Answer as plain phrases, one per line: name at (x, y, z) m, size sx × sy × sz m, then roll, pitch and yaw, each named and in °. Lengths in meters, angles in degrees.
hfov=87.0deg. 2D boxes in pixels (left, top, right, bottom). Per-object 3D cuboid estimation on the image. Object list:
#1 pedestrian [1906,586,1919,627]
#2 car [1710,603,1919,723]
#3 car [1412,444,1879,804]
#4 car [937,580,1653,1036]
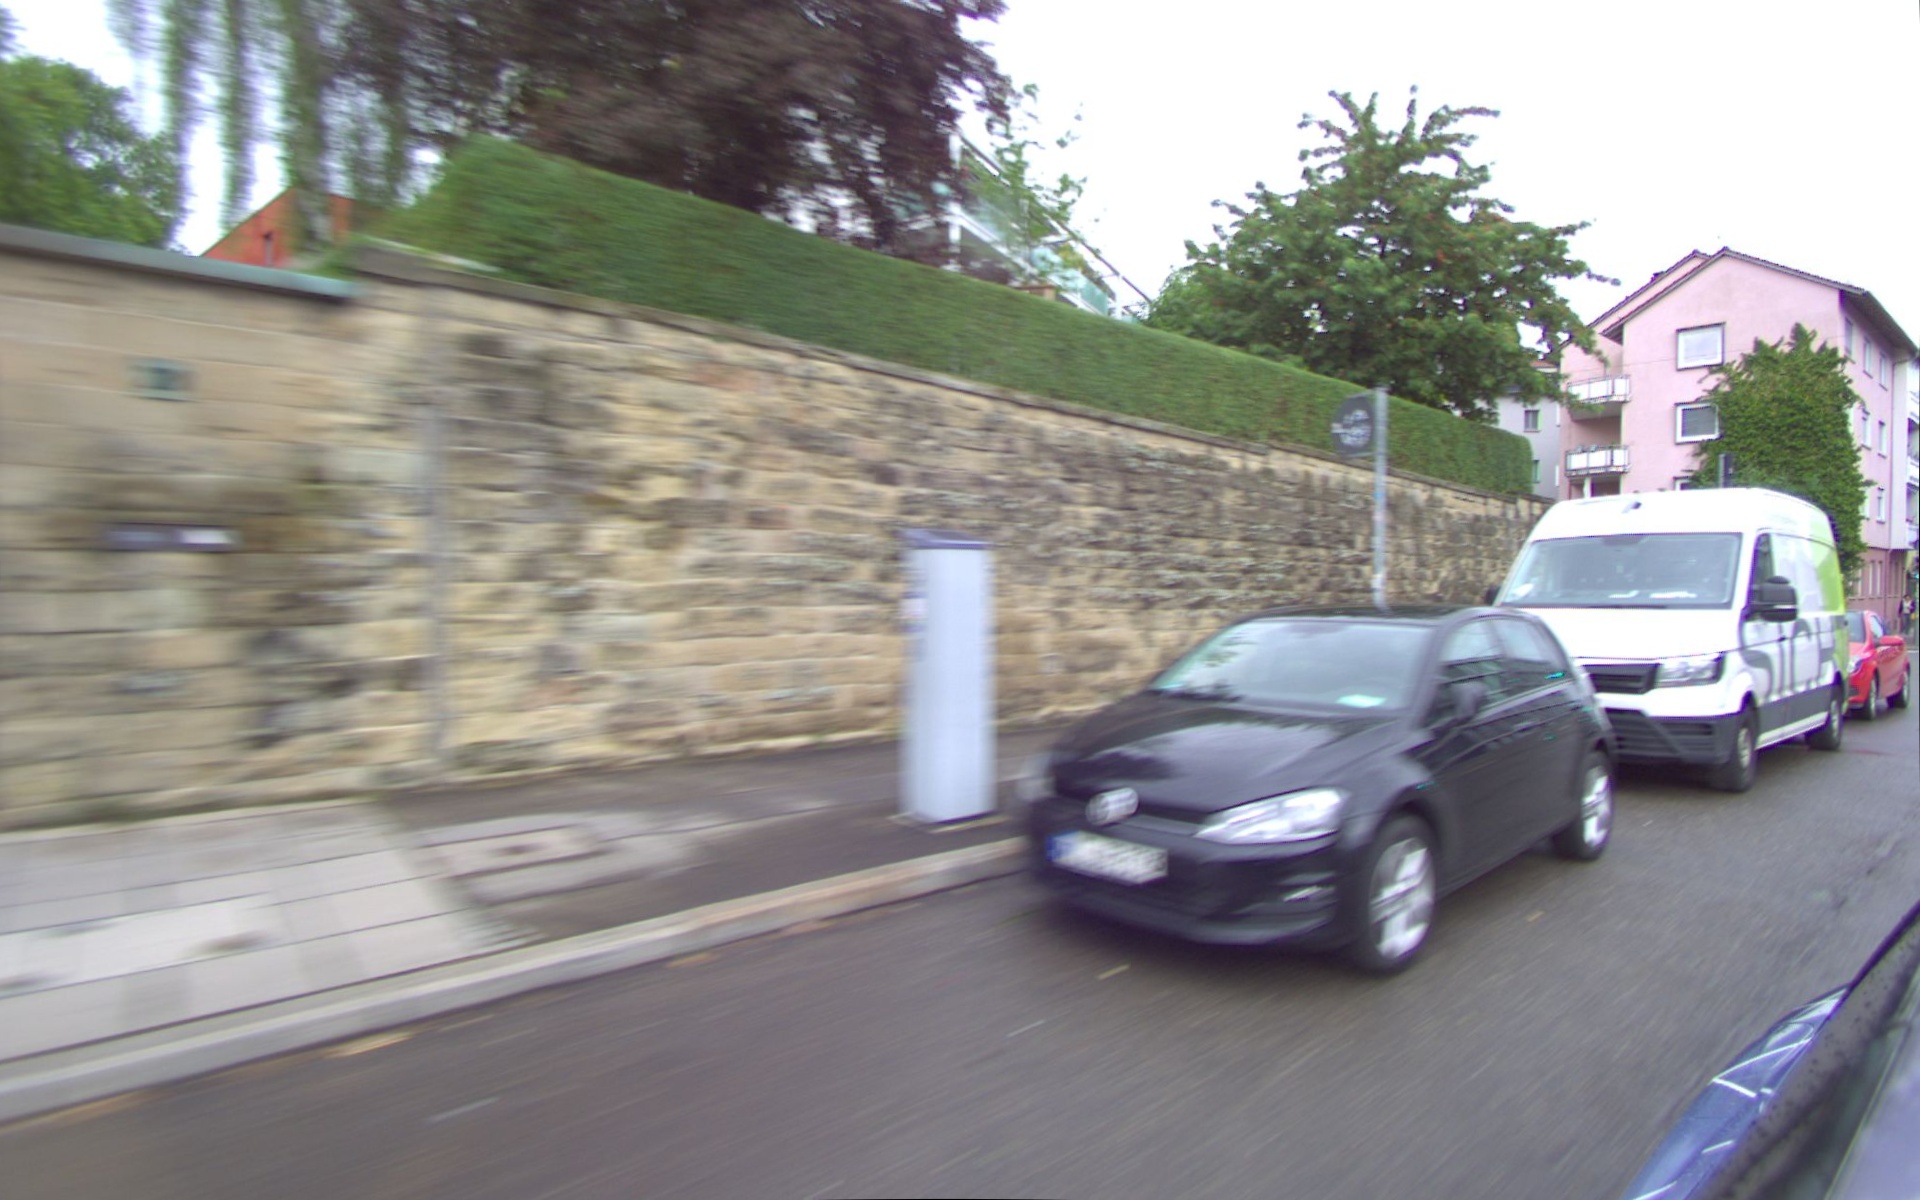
pedestrian at (42.983, 0.291, 45.313) m, size 0.735 × 1.795 × 0.715 m, roll 2°, pitch 2°, yaw -40°
car at (12.145, 0.776, 14.154) m, size 4.127 × 1.439 × 1.724 m, roll 1°, pitch -1°, yaw -39°
car at (6.873, 0.193, 9.785) m, size 5.971 × 2.495 × 2.209 m, roll 1°, pitch -1°, yaw -40°
car at (2.009, 0.694, 5.300) m, size 4.161 × 1.472 × 1.691 m, roll 1°, pitch -1°, yaw -41°
